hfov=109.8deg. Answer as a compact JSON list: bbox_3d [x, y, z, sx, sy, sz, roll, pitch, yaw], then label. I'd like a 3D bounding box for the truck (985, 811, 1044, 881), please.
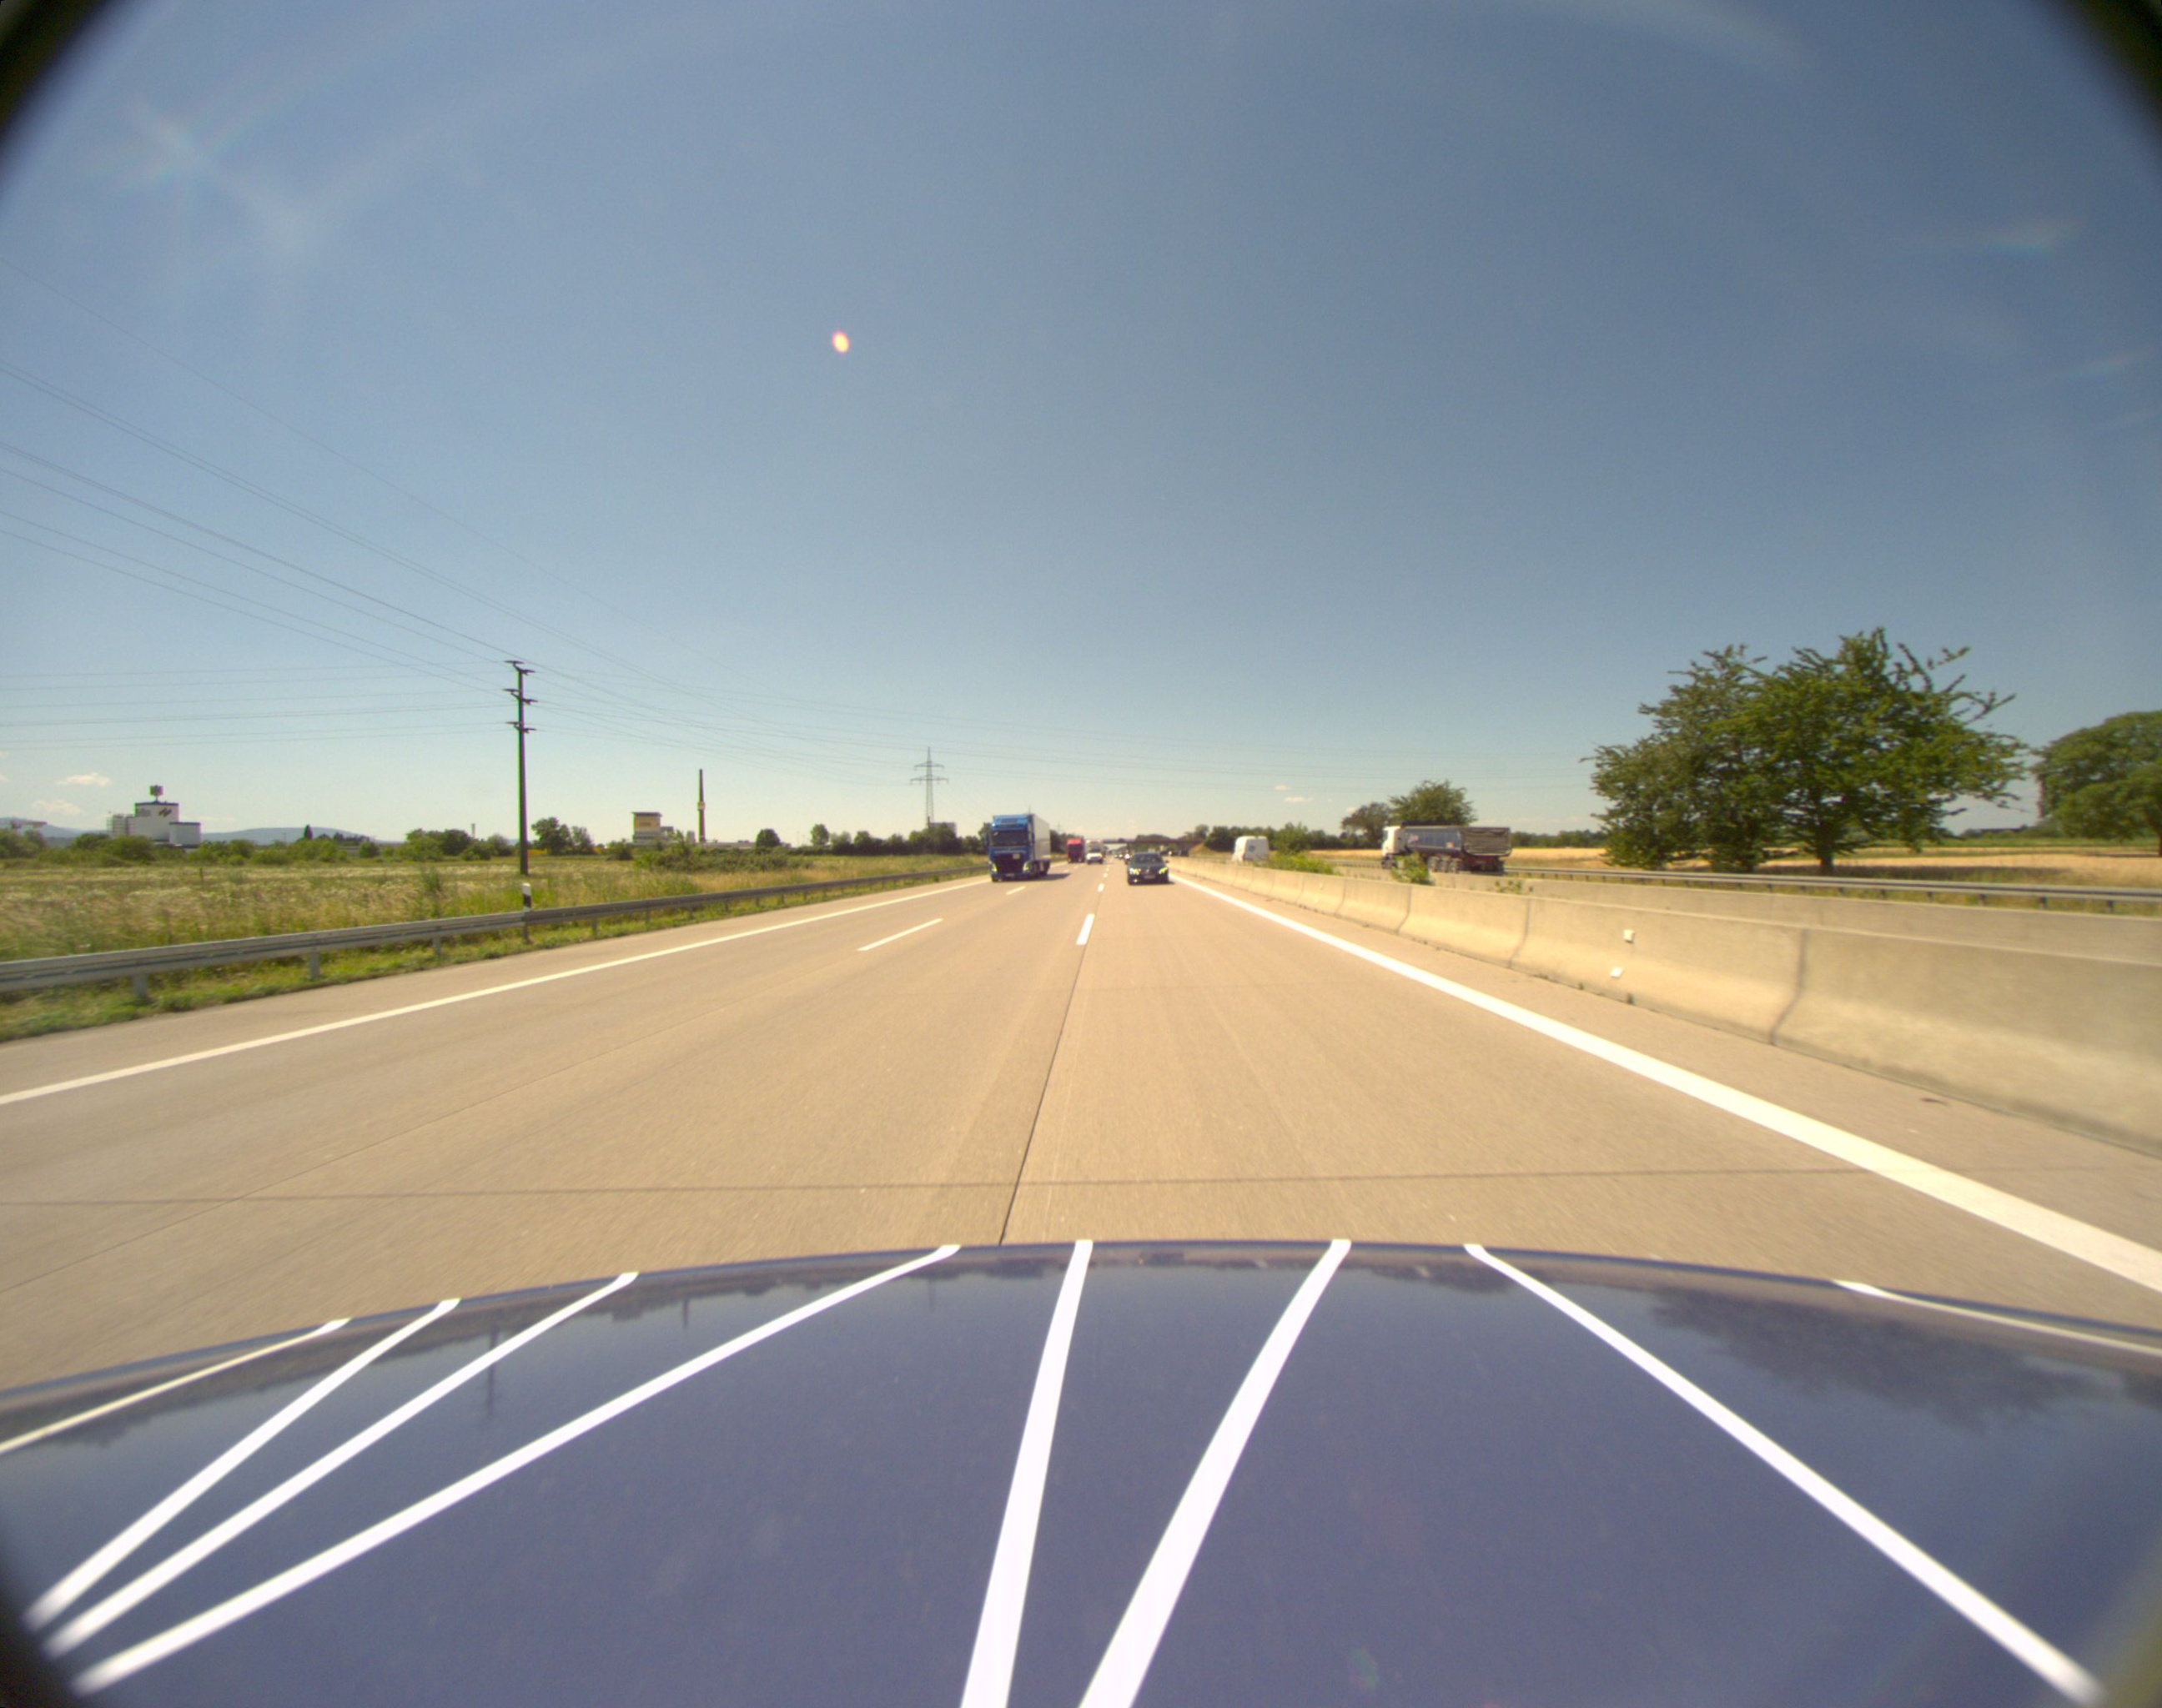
[{"bbox_3d":[-4.045,-0.478,47.366,2.757,4.020,5.466,-3,1,3],"label":"truck"}]

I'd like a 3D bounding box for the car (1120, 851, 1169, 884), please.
[{"bbox_3d":[2.988,0.573,36.758,1.998,1.462,6.348,0,0,2],"label":"car"}]

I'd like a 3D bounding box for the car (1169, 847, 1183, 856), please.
[{"bbox_3d":[17.095,-0.510,136.341,1.998,1.440,4.682,-3,0,2],"label":"car"}]

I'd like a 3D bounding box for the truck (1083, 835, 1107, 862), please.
[{"bbox_3d":[1.919,-0.750,102.162,2.783,3.328,7.814,-3,0,3],"label":"truck"}]

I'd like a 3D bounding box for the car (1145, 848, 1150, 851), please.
[{"bbox_3d":[22.252,-1.407,254.211,1.525,1.047,3.524,-3,0,4],"label":"car"}]

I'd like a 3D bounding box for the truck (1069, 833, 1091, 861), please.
[{"bbox_3d":[-0.061,-1.169,128.260,2.855,4.298,10.887,-3,0,3],"label":"truck"}]

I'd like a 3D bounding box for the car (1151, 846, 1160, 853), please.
[{"bbox_3d":[20.216,-1.277,205.889,1.877,1.643,5.108,-3,0,2],"label":"car"}]

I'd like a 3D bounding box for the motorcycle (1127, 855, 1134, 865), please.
[{"bbox_3d":[5.816,0.719,89.261,0.683,1.046,2.065,-3,0,1],"label":"motorcycle"}]

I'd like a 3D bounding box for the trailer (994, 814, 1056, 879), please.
[{"bbox_3d":[-3.741,-0.532,54.499,2.715,4.020,12.903,-3,0,3],"label":"trailer"}]

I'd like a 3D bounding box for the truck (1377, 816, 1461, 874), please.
[{"bbox_3d":[20.882,-0.526,47.306,2.813,3.285,5.614,-3,0,2],"label":"truck"}]

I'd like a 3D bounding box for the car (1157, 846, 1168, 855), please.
[{"bbox_3d":[17.853,-0.816,167.017,1.998,1.815,5.826,-3,0,4],"label":"car"}]

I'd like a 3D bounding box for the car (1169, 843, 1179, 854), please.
[{"bbox_3d":[24.682,-1.446,201.561,2.253,2.770,6.793,-3,0,4],"label":"car"}]

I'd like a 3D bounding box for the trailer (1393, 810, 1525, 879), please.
[{"bbox_3d":[20.739,-0.492,42.498,2.835,3.285,9.463,-3,0,2],"label":"trailer"}]

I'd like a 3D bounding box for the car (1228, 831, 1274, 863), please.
[{"bbox_3d":[12.823,-0.522,57.832,2.215,2.176,6.326,-3,0,2],"label":"car"}]

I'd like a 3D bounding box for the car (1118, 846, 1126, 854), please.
[{"bbox_3d":[7.993,-0.769,148.146,1.557,1.440,3.777,-3,0,4],"label":"car"}]

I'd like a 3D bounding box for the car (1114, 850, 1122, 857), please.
[{"bbox_3d":[9.329,-0.112,190.995,1.683,1.444,3.564,-3,0,4],"label":"car"}]

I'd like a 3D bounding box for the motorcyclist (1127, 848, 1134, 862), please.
[{"bbox_3d":[5.786,0.106,89.280,0.672,1.552,0.775,-3,1,1],"label":"motorcyclist"}]
